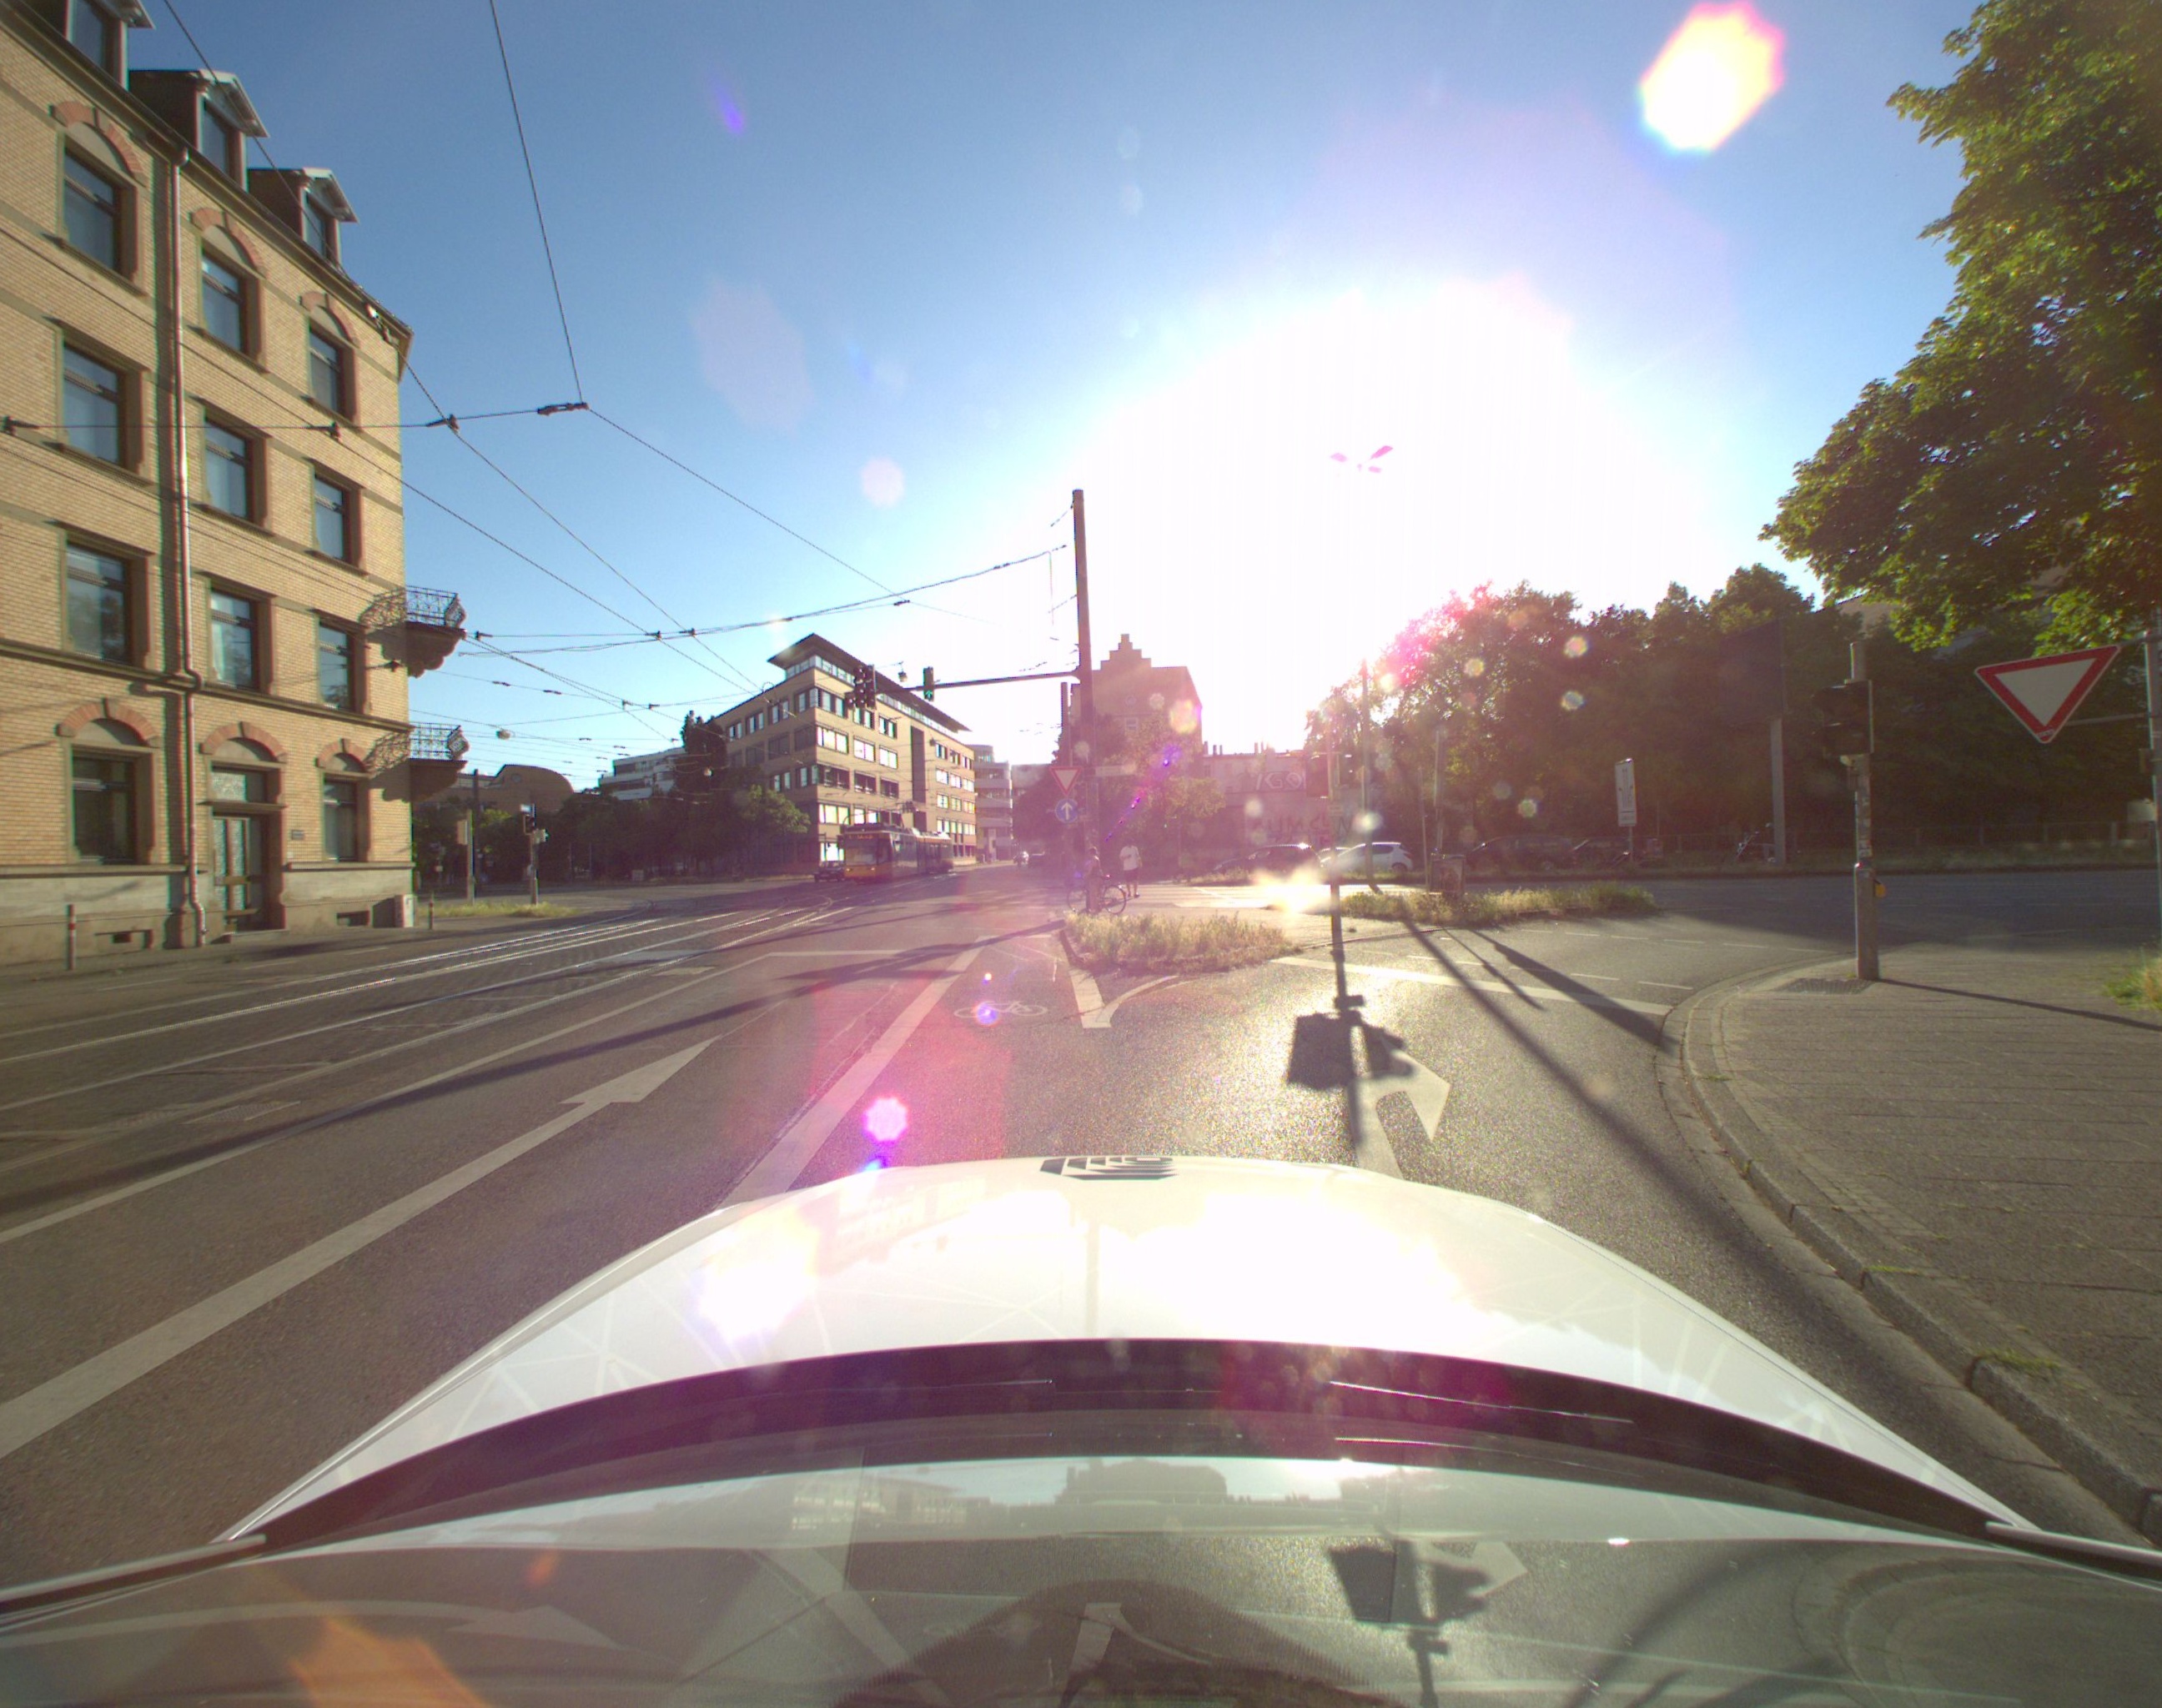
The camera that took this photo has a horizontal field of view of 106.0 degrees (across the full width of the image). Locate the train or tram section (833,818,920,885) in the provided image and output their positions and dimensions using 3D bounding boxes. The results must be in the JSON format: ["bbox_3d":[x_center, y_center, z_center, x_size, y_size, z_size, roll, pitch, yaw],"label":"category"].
[{"bbox_3d":[-12.393,-0.128,50.802,2.855,3.507,12.997,-2,0,-4],"label":"train or tram section"}]

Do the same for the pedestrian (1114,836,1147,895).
[{"bbox_3d":[1.529,0.348,25.161,0.903,1.789,0.829,-2,0,8],"label":"pedestrian"}]

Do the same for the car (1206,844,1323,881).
[{"bbox_3d":[7.205,0.316,31.957,4.198,1.296,1.734,-2,0,22],"label":"car"}]

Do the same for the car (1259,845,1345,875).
[{"bbox_3d":[10.644,0.295,39.225,3.850,1.296,1.733,-2,0,19],"label":"car"}]

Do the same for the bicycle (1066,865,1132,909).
[{"bbox_3d":[0.419,0.793,19.691,1.650,1.029,0.402,-2,0,40],"label":"bicycle"}]

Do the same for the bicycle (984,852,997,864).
[{"bbox_3d":[-13.001,0.608,117.113,1.024,1.651,2.567,-2,0,9],"label":"bicycle"}]

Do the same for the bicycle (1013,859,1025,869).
[{"bbox_3d":[-5.600,0.887,73.936,0.691,0.877,2.030,-2,0,7],"label":"bicycle"}]

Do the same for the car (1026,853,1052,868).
[{"bbox_3d":[-4.257,0.628,83.358,1.774,1.388,4.010,-2,0,9],"label":"car"}]

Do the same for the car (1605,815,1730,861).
[{"bbox_3d":[24.308,-0.616,33.916,3.951,1.794,1.759,0,-1,24],"label":"car"}]

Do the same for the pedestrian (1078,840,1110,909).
[{"bbox_3d":[0.310,0.493,19.545,0.519,1.631,0.492,-2,0,40],"label":"pedestrian"}]

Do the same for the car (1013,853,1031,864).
[{"bbox_3d":[-9.078,0.654,125.409,1.806,1.614,4.474,-2,0,7],"label":"car"}]

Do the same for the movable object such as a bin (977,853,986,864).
[{"bbox_3d":[-14.542,0.693,118.825,1.061,1.628,0.890,-2,0,5],"label":"movable object such as a bin"}]

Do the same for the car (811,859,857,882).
[{"bbox_3d":[-15.940,1.022,52.732,1.805,1.380,4.158,-2,0,-3],"label":"car"}]

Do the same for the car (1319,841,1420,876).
[{"bbox_3d":[11.995,0.198,33.999,3.850,1.319,1.733,-2,0,19],"label":"car"}]

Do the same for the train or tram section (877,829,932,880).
[{"bbox_3d":[-12.906,0.037,59.981,2.853,3.507,5.300,-2,0,-2],"label":"train or tram section"}]

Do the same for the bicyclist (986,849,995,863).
[{"bbox_3d":[-13.002,0.285,117.098,1.024,2.014,1.250,0,-1,9],"label":"bicyclist"}]

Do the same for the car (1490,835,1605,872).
[{"bbox_3d":[20.158,-0.034,35.372,3.958,1.464,1.867,-2,1,14],"label":"car"}]

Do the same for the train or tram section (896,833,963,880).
[{"bbox_3d":[-12.501,0.189,68.389,2.849,3.507,11.306,-2,0,3],"label":"train or tram section"}]

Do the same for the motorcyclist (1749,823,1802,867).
[{"bbox_3d":[22.745,-0.295,26.686,1.049,1.398,0.859,-2,0,21],"label":"motorcyclist"}]

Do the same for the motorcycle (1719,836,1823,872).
[{"bbox_3d":[22.615,0.003,26.765,2.441,1.108,0.866,-2,0,20],"label":"motorcycle"}]

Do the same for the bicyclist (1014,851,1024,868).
[{"bbox_3d":[-5.609,0.494,74.008,0.670,1.522,0.815,-2,0,6],"label":"bicyclist"}]

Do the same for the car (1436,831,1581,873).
[{"bbox_3d":[15.015,-0.054,28.858,4.325,1.296,1.733,-2,0,21],"label":"car"}]
